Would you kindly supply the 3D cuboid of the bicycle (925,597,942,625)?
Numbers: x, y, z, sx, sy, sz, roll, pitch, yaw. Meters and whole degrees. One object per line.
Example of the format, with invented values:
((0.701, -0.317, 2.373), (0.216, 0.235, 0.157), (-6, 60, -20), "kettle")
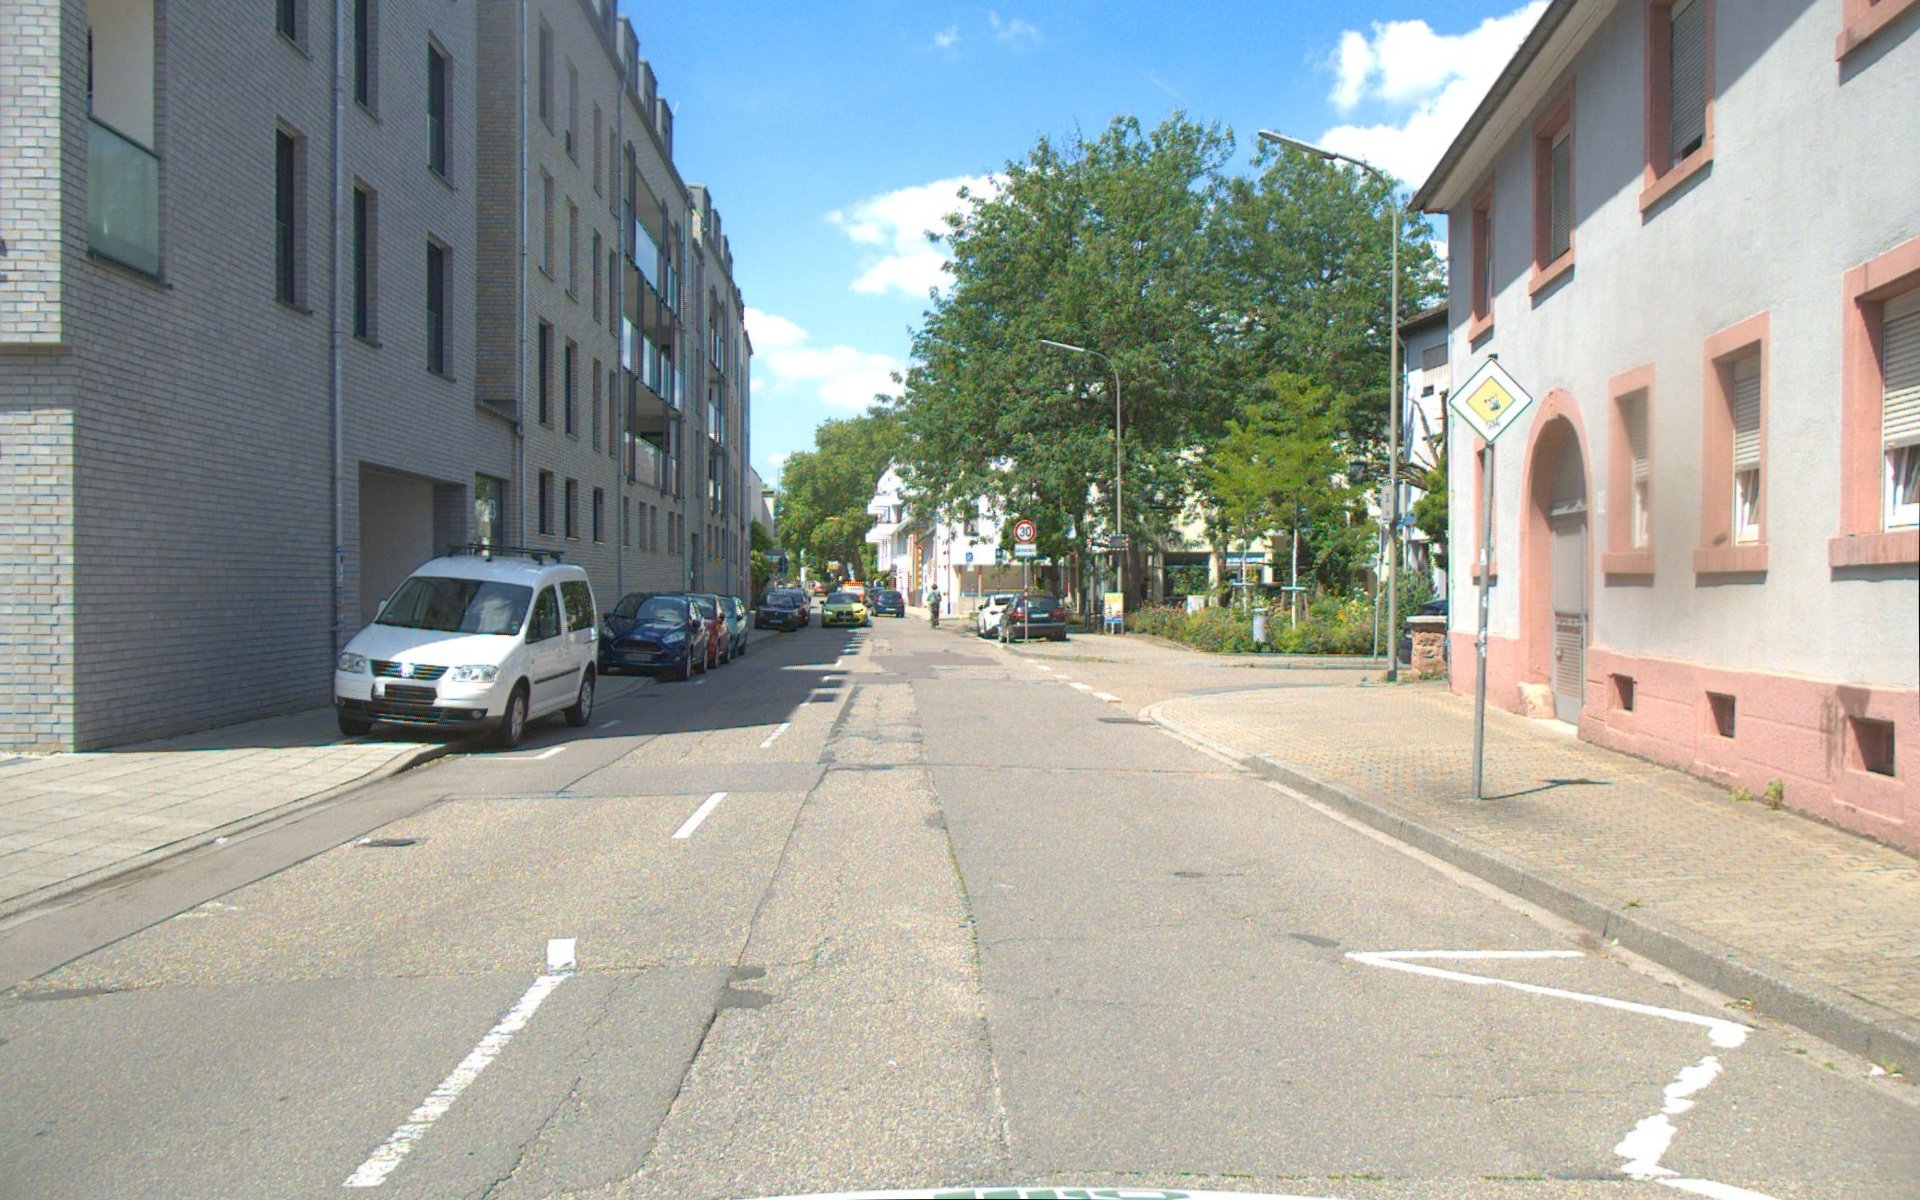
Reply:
((-1.089, 0.453, 68.338), (0.475, 1.134, 1.192), (0, 0, -13), "bicycle")

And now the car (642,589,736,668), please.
((-5.683, 0.571, 35.029), (1.559, 1.581, 3.568), (1, 0, -3), "car")

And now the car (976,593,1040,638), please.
((1.557, 0.488, 54.946), (1.744, 1.445, 3.997), (0, 0, -4), "car")

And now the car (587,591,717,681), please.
((-5.534, 0.609, 30.152), (1.688, 1.481, 4.004), (1, 0, -2), "car")

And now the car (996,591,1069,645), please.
((2.075, 0.506, 48.275), (1.659, 1.445, 3.997), (-2, 0, -4), "car")

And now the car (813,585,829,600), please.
((-19.468, -1.106, 232.190), (2.114, 2.049, 3.997), (0, 0, -4), "car")

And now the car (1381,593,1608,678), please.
((9.561, 0.612, 29.747), (3.526, 1.474, 1.741), (0, 0, -4), "car")

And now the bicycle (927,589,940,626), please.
((-1.095, 0.292, 68.360), (0.469, 1.516, 0.574), (0, 0, -13), "bicycle")

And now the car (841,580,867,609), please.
((-7.881, -0.429, 123.421), (1.802, 2.049, 3.998), (0, 1, -2), "car")

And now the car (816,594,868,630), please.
((-4.924, 0.485, 69.379), (1.953, 1.405, 4.391), (2, 0, -2), "car")

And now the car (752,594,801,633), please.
((-7.185, 0.506, 65.145), (1.698, 1.467, 3.997), (0, 0, -3), "car")

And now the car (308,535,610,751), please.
((-5.108, 0.384, 17.509), (1.721, 1.925, 4.337), (2, 0, 1), "car")

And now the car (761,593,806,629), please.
((-7.452, 0.451, 70.209), (1.698, 1.467, 3.997), (0, 0, -3), "car")

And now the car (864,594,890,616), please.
((-6.563, 0.395, 130.762), (1.954, 1.646, 3.996), (1, 0, -4), "car")

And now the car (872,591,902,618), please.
((-4.066, 0.223, 92.250), (1.681, 1.426, 3.998), (0, 1, -2), "car")

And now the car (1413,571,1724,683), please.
((9.423, 0.428, 25.828), (4.180, 1.557, 1.742), (-2, -1, 0), "car")

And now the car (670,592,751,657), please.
((-6.023, 0.562, 40.251), (1.559, 1.481, 3.701), (2, 0, -3), "car")

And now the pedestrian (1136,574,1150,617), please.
((8.120, -0.189, 73.306), (0.582, 1.891, 0.604), (0, 0, 9), "pedestrian")
